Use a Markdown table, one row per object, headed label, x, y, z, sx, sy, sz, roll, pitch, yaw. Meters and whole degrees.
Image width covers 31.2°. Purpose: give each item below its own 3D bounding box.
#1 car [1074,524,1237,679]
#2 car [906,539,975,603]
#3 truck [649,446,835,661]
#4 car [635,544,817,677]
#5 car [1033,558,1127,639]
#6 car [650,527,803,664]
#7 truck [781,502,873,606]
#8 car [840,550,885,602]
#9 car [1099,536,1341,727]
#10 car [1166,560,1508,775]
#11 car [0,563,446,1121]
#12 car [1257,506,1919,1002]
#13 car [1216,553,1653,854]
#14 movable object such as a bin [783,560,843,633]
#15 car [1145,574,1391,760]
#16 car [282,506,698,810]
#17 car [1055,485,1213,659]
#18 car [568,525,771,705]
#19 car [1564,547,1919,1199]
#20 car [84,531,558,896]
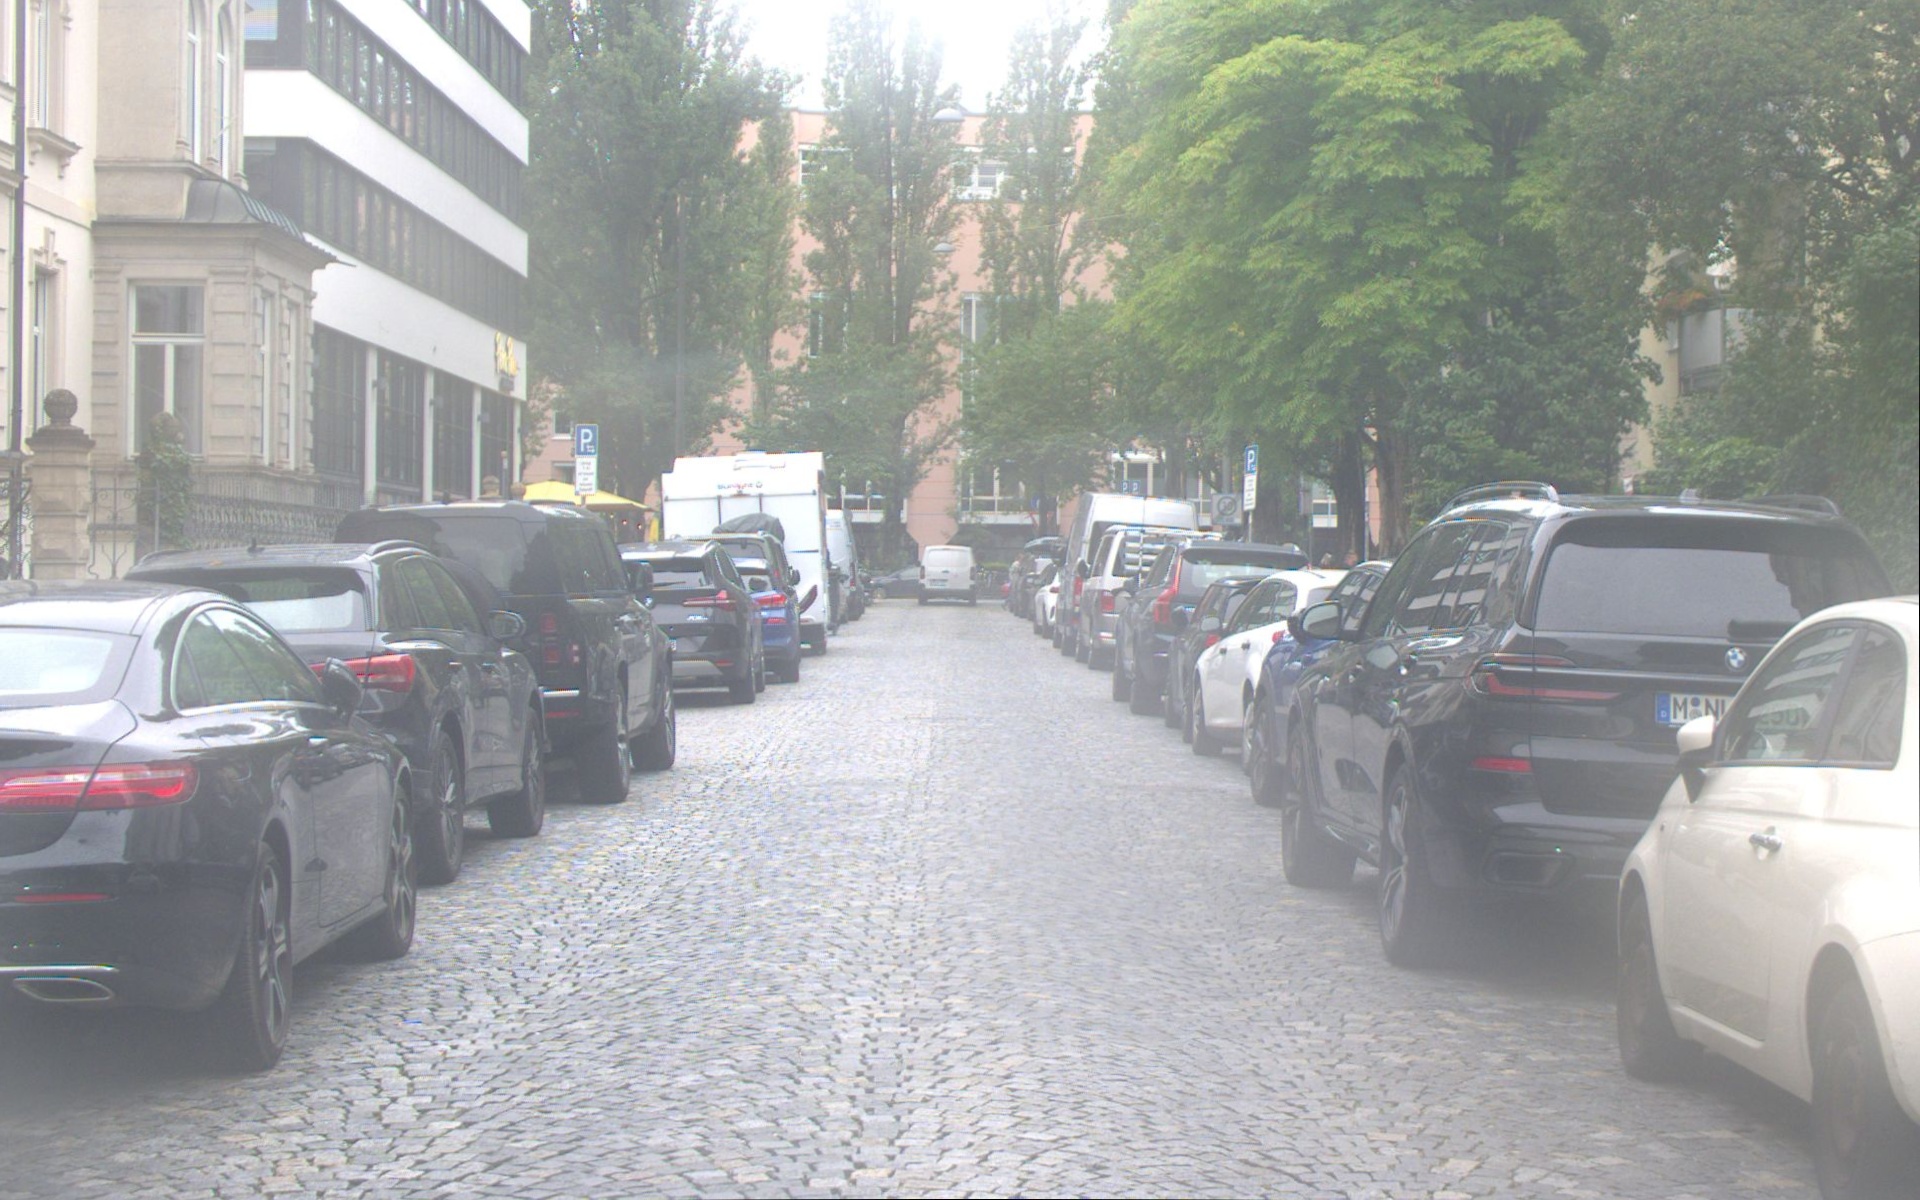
| label | x | y | z | sx | sy | sz | roll | pitch | yaw |
| --- | --- | --- | --- | --- | --- | --- | --- | --- | --- |
| car | 2.661 | 0.007 | 47.879 | 1.800 | 1.943 | 4.860 | 4 | 0 | -1 |
| car | -0.583 | -0.884 | 107.238 | 1.996 | 1.929 | 4.000 | 1 | 0 | 1 |
| truck | -3.225 | -0.719 | 52.232 | 2.508 | 3.021 | 6.385 | -1 | 1 | -1 |
| car | -2.732 | 0.111 | 40.919 | 1.940 | 1.454 | 4.058 | 1 | 0 | -1 |
| car | 2.289 | -0.038 | 66.046 | 1.599 | 1.481 | 3.479 | 1 | 0 | -1 |
| car | -3.095 | -0.088 | 46.182 | 1.894 | 1.745 | 4.168 | 0 | 1 | -2 |
| truck | -3.105 | -1.073 | 80.987 | 1.993 | 2.338 | 4.068 | 1 | 0 | 0 |
| car | -3.019 | -0.740 | 106.891 | 1.276 | 1.536 | 3.119 | 1 | 0 | 0 |
| car | 2.556 | 0.287 | 34.936 | 1.963 | 1.753 | 4.954 | 1 | 0 | -1 |
| car | 2.709 | 0.452 | 25.693 | 1.773 | 1.424 | 4.391 | 1 | 0 | -4 |
| car | -2.877 | 0.601 | 11.045 | 1.773 | 1.424 | 4.391 | 1 | 0 | 0 |
| car | 2.498 | 0.522 | 14.590 | 1.875 | 1.667 | 5.491 | 1 | 0 | -1 |
| car | 2.647 | 0.531 | 20.138 | 1.709 | 1.477 | 4.250 | 3 | 0 | -3 |
| movable object such as a bin | -2.808 | -0.074 | 65.932 | 1.064 | 1.359 | 1.289 | 1 | 0 | 0 |
| car | 2.647 | 0.545 | 30.303 | 1.683 | 1.448 | 3.966 | 3 | 0 | -1 |
| car | -2.935 | 0.302 | 22.498 | 1.982 | 1.731 | 4.722 | 1 | 1 | 1 |
| car | 2.639 | -0.468 | 53.490 | 1.895 | 2.418 | 5.611 | 5 | 1 | -1 |
| car | -2.945 | 0.135 | 35.670 | 1.773 | 1.712 | 4.391 | 1 | 0 | -1 |
| car | 2.805 | 0.658 | 9.218 | 1.630 | 1.464 | 3.659 | 3 | 0 | 0 |
| car | -3.047 | 0.498 | 17.142 | 1.579 | 1.584 | 4.056 | -1 | 0 | 0 |
